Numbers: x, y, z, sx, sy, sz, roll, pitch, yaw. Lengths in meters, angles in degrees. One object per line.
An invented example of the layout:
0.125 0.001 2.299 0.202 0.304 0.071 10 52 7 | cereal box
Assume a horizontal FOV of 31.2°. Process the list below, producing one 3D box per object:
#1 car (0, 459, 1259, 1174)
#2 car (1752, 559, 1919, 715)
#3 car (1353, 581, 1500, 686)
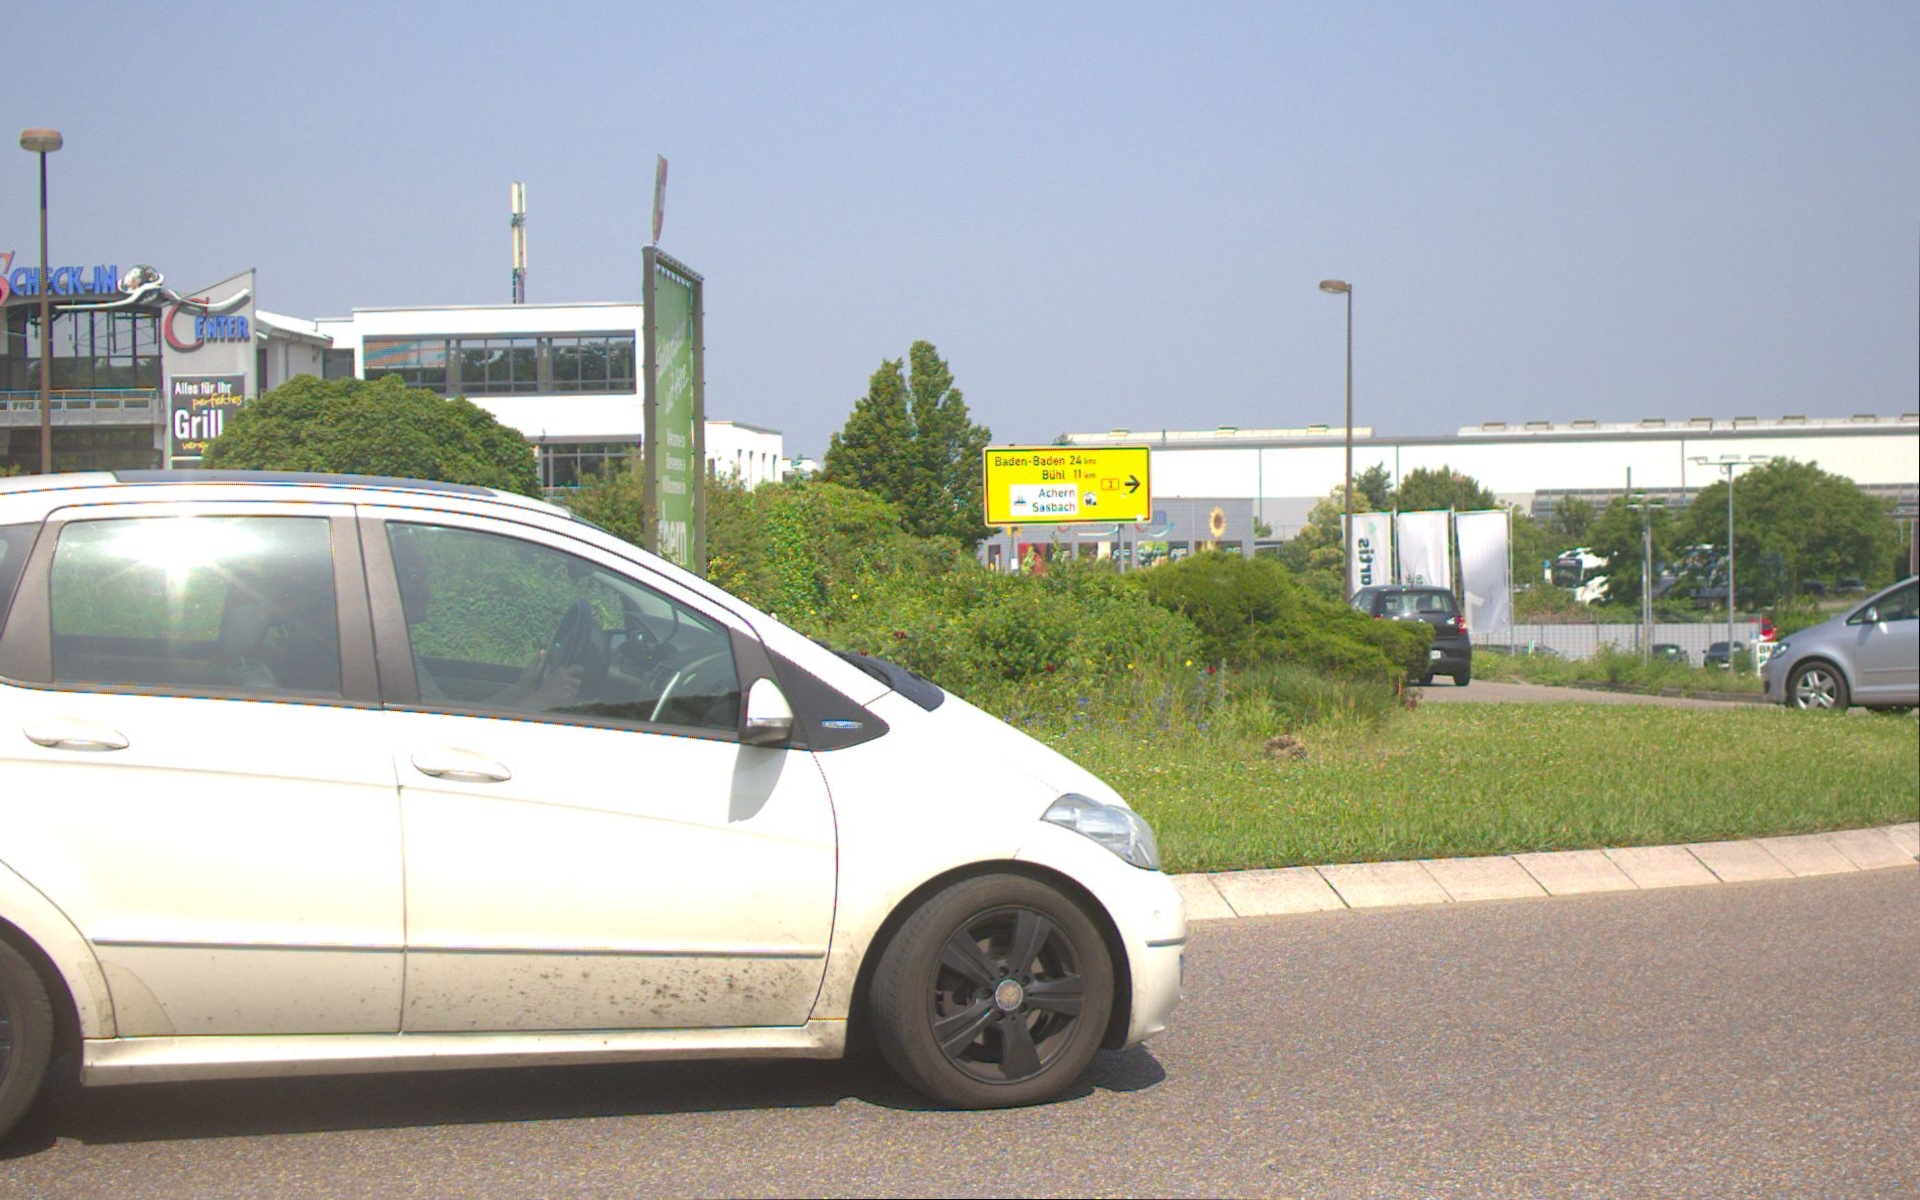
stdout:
-1.377 0.452 8.774 3.879 1.597 1.787 0 2 -14 | car
10.152 0.380 34.196 4.079 1.525 1.782 0 -1 30 | car
7.107 0.513 52.693 1.779 1.525 4.000 1 -1 1 | car
